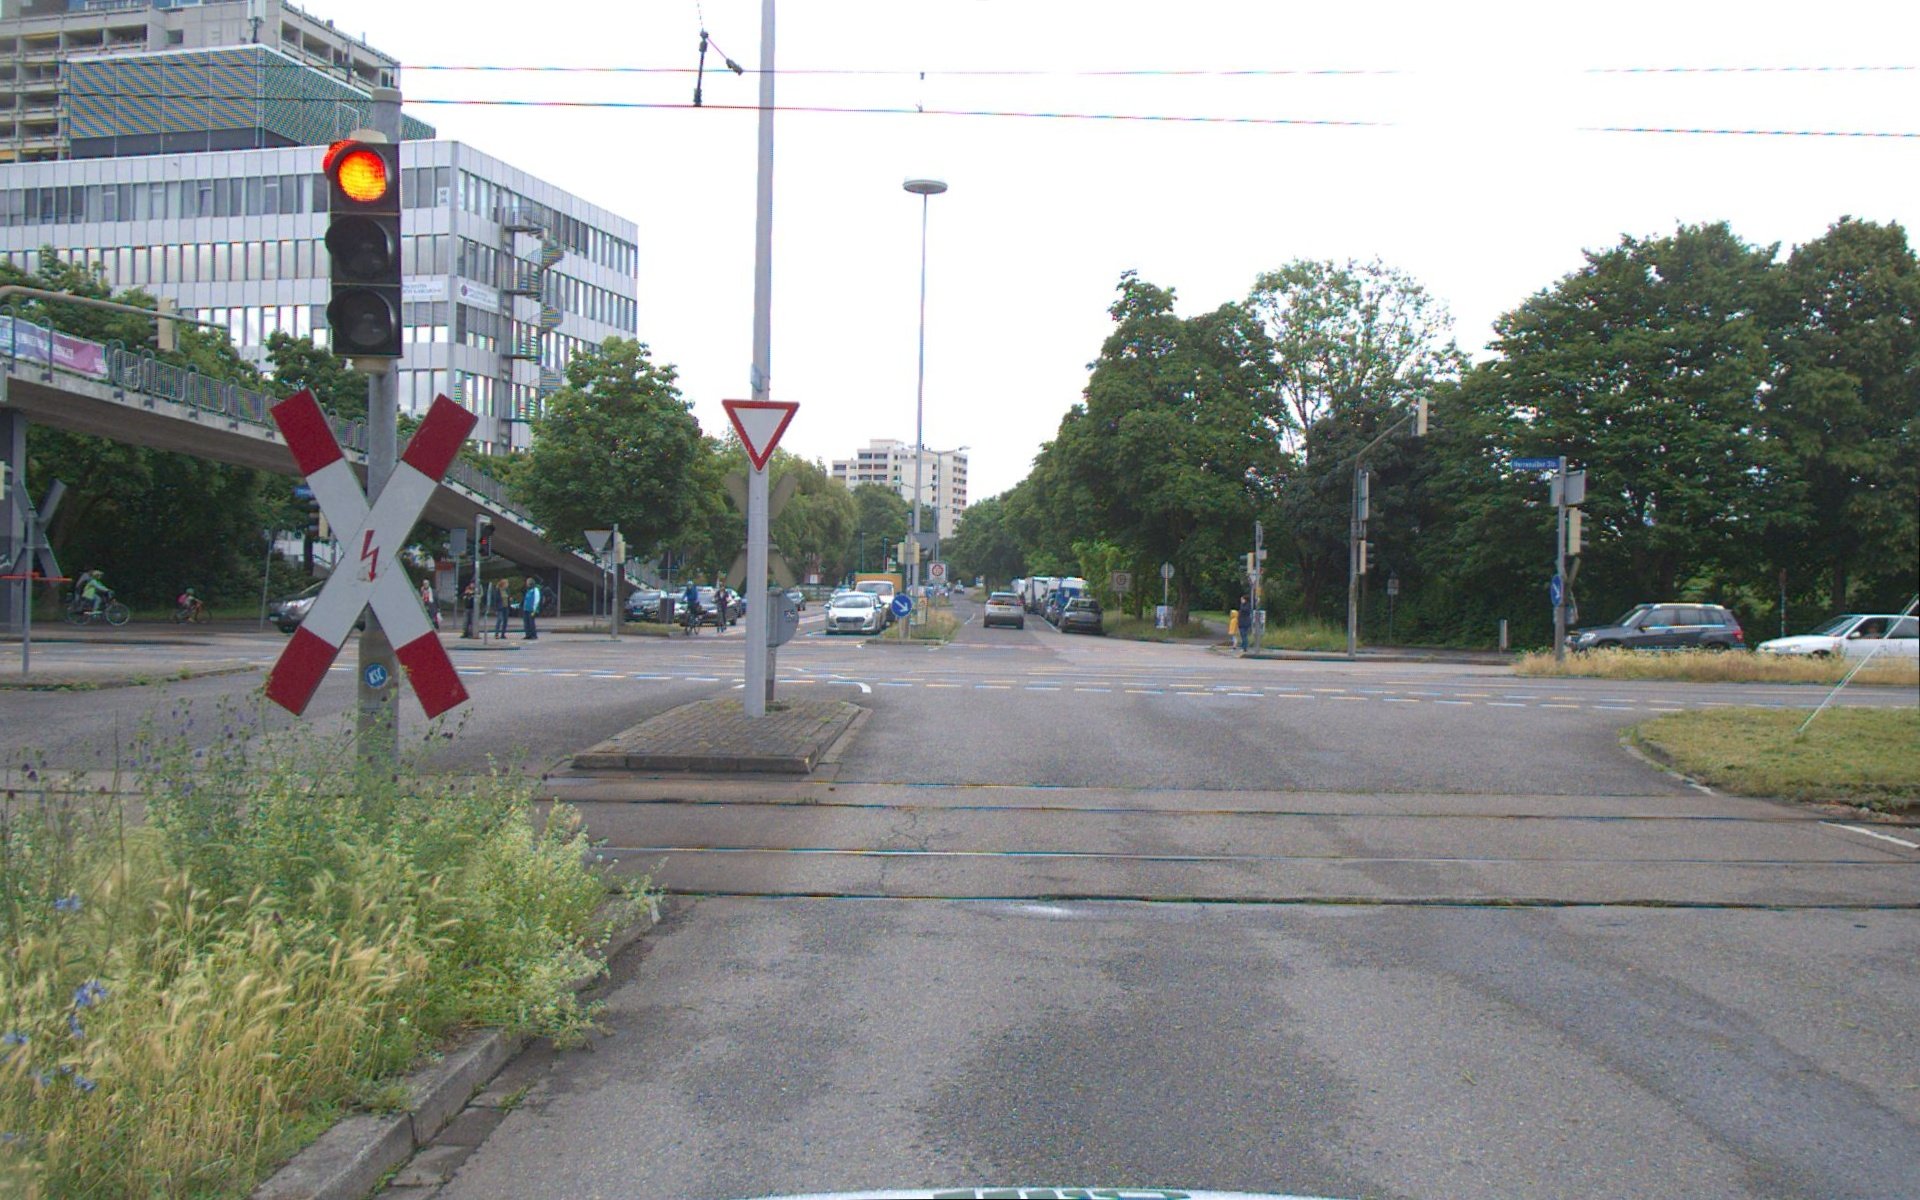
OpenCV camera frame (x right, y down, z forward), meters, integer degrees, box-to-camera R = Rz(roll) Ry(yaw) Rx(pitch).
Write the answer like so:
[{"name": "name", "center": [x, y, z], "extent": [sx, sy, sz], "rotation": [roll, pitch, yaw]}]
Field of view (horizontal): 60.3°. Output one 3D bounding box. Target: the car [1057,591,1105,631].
[{"name": "car", "center": [5.392, 0.468, 74.000], "extent": [1.747, 1.691, 3.999], "rotation": [1, 0, -1]}]

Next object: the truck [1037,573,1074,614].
[{"name": "truck", "center": [6.908, -0.471, 120.172], "extent": [1.954, 2.888, 5.726], "rotation": [1, 0, -4]}]

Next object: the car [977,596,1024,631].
[{"name": "car", "center": [1.849, 0.600, 76.692], "extent": [1.979, 1.531, 3.999], "rotation": [1, 0, -1]}]

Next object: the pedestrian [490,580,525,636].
[{"name": "pedestrian", "center": [-12.483, 0.217, 45.635], "extent": [0.901, 1.537, 0.403], "rotation": [1, 0, -12]}]

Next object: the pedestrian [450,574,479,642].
[{"name": "pedestrian", "center": [-13.643, 0.214, 45.563], "extent": [0.625, 1.835, 0.800], "rotation": [1, 0, -10]}]

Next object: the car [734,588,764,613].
[{"name": "car", "center": [-13.704, 0.037, 107.572], "extent": [1.415, 1.579, 3.664], "rotation": [1, 0, 0]}]

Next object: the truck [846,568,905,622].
[{"name": "truck", "center": [-3.623, -0.232, 71.922], "extent": [2.111, 2.237, 5.841], "rotation": [1, 0, 1]}]

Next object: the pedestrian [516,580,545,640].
[{"name": "pedestrian", "center": [-11.847, 0.260, 45.615], "extent": [0.673, 1.633, 0.487], "rotation": [1, 0, -5]}]

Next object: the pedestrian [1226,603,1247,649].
[{"name": "pedestrian", "center": [8.368, 0.789, 49.985], "extent": [0.516, 1.365, 0.525], "rotation": [1, 0, -1]}]

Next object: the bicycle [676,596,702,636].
[{"name": "bicycle", "center": [-9.086, 0.510, 55.418], "extent": [0.532, 1.289, 2.110], "rotation": [1, 0, -1]}]

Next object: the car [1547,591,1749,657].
[{"name": "car", "center": [17.457, 0.591, 42.086], "extent": [4.373, 1.530, 1.846], "rotation": [1, 0, 0]}]

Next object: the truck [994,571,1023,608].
[{"name": "truck", "center": [4.173, -0.899, 142.997], "extent": [1.954, 3.061, 5.767], "rotation": [1, 0, -4]}]

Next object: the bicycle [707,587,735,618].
[{"name": "bicycle", "center": [-8.750, 0.086, 60.718], "extent": [0.712, 1.120, 2.264], "rotation": [1, 0, -1]}]

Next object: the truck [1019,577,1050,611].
[{"name": "truck", "center": [5.949, -0.429, 132.229], "extent": [1.954, 2.618, 5.375], "rotation": [1, 0, -3]}]

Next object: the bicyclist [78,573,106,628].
[{"name": "bicyclist", "center": [-26.796, 0.017, 51.087], "extent": [0.553, 1.673, 0.531], "rotation": [1, -1, 0]}]

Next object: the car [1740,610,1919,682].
[{"name": "car", "center": [18.733, 0.950, 34.602], "extent": [4.052, 1.381, 1.647], "rotation": [1, 0, 0]}]

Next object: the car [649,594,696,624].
[{"name": "car", "center": [-14.375, 0.428, 82.910], "extent": [1.637, 1.411, 3.895], "rotation": [1, 0, 0]}]

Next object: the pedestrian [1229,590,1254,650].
[{"name": "pedestrian", "center": [8.411, 0.592, 49.382], "extent": [0.643, 1.780, 0.459], "rotation": [1, 0, -1]}]

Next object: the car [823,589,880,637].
[{"name": "car", "center": [-3.747, 0.427, 57.835], "extent": [1.753, 1.545, 4.325], "rotation": [1, 0, -1]}]

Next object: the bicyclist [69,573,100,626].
[{"name": "bicyclist", "center": [-27.697, -0.022, 52.340], "extent": [0.742, 1.654, 0.520], "rotation": [2, -1, -39]}]

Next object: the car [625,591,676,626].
[{"name": "car", "center": [-14.457, 0.385, 77.414], "extent": [1.637, 1.579, 3.892], "rotation": [1, 0, 0]}]

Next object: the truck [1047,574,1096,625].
[{"name": "truck", "center": [6.076, 0.003, 90.809], "extent": [2.130, 2.703, 6.245], "rotation": [0, 0, -1]}]

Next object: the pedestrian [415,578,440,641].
[{"name": "pedestrian", "center": [-14.632, 0.250, 45.443], "extent": [0.608, 1.721, 0.404], "rotation": [1, 0, -15]}]

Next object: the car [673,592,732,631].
[{"name": "car", "center": [-11.128, 0.464, 71.610], "extent": [1.636, 1.579, 4.002], "rotation": [1, 0, 4]}]

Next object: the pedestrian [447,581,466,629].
[{"name": "pedestrian", "center": [-17.167, 0.157, 56.341], "extent": [0.570, 1.607, 0.777], "rotation": [1, 0, -19]}]

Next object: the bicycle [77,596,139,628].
[{"name": "bicycle", "center": [-26.294, 0.349, 51.107], "extent": [0.618, 0.941, 2.523], "rotation": [1, 0, -1]}]

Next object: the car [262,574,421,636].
[{"name": "car", "center": [-18.580, 0.161, 49.794], "extent": [4.173, 1.765, 1.604], "rotation": [1, 0, -43]}]

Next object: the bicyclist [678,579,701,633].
[{"name": "bicyclist", "center": [-9.060, 0.201, 55.410], "extent": [0.631, 1.799, 0.646], "rotation": [1, 0, -1]}]

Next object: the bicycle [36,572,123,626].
[{"name": "bicycle", "center": [-27.806, -0.024, 52.248], "extent": [2.343, 1.654, 0.520], "rotation": [1, -1, -39]}]

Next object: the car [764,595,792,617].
[{"name": "car", "center": [-13.815, 0.432, 125.876], "extent": [1.637, 1.579, 4.000], "rotation": [1, 0, 0]}]

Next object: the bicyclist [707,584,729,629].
[{"name": "bicyclist", "center": [-8.769, 0.247, 59.919], "extent": [0.665, 1.622, 0.695], "rotation": [1, -1, -1]}]
